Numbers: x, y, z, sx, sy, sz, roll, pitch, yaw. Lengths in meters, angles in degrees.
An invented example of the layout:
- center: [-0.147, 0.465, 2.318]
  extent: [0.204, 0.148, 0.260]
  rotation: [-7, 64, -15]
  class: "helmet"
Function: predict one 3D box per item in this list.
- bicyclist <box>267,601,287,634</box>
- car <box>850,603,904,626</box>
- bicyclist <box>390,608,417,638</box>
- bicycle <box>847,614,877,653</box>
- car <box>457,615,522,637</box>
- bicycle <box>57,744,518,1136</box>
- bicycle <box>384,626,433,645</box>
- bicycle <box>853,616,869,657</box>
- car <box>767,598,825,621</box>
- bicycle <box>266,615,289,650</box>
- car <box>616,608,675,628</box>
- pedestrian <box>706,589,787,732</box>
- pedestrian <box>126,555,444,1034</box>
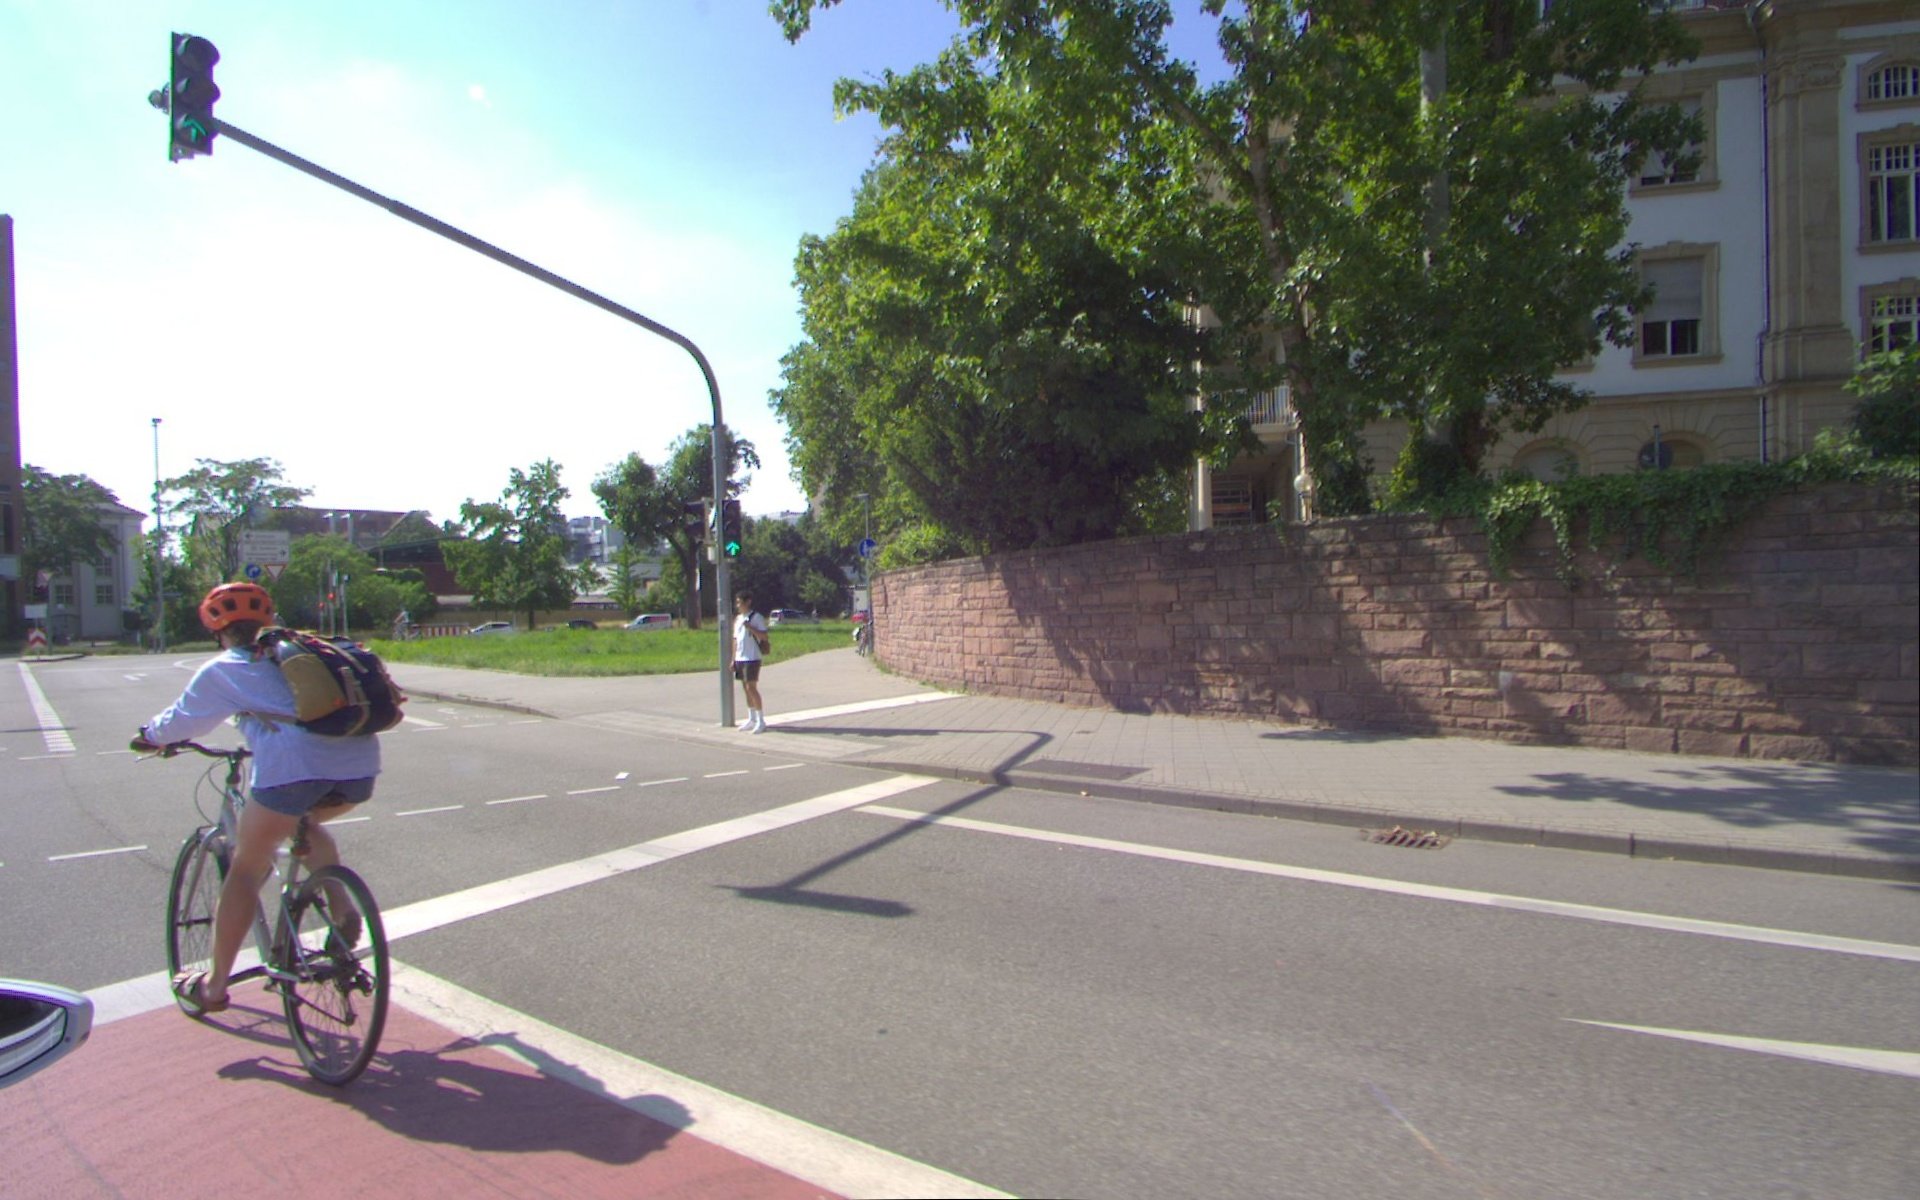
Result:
- center: [-35.567, 0.912, 52.118]
  extent: [0.673, 1.677, 0.910]
  rotation: [-2, 1, -44]
  class: "bicyclist"
- center: [-6.408, 1.171, 77.815]
  extent: [3.964, 1.526, 1.735]
  rotation: [5, -4, -44]
  class: "car"
- center: [-28.357, 1.188, 51.054]
  extent: [1.120, 1.489, 0.496]
  rotation: [-1, -1, 4]
  class: "bicyclist"
- center: [-3.003, 1.007, 30.647]
  extent: [0.344, 1.138, 1.428]
  rotation: [-2, 1, -30]
  class: "bicycle"
- center: [-35.272, 1.925, 75.160]
  extent: [3.960, 1.483, 1.981]
  rotation: [-1, -1, -44]
  class: "car"
- center: [-2.494, 1.080, 3.625]
  extent: [1.998, 0.943, 0.595]
  rotation: [-1, -1, 31]
  class: "bicycle"
- center: [-28.124, 1.806, 51.091]
  extent: [2.126, 0.928, 0.674]
  rotation: [-1, 1, 4]
  class: "bicycle"
- center: [-2.882, 1.054, 29.095]
  extent: [0.342, 1.138, 1.434]
  rotation: [-1, 0, -9]
  class: "bicycle"
- center: [-12.000, 0.695, 73.415]
  extent: [3.959, 1.528, 1.735]
  rotation: [-2, 1, -44]
  class: "car"
- center: [-35.603, 1.687, 52.198]
  extent: [0.673, 1.789, 1.793]
  rotation: [-2, 1, -43]
  class: "bicycle"
- center: [-26.100, 1.484, 83.192]
  extent: [4.281, 1.590, 1.891]
  rotation: [-1, 0, -44]
  class: "car"
- center: [-2.931, 0.810, 13.780]
  extent: [0.784, 1.900, 0.651]
  rotation: [-1, 2, 28]
  class: "pedestrian"
- center: [-2.440, 0.617, 3.619]
  extent: [0.999, 1.485, 0.582]
  rotation: [-1, -1, 31]
  class: "pedestrian"
